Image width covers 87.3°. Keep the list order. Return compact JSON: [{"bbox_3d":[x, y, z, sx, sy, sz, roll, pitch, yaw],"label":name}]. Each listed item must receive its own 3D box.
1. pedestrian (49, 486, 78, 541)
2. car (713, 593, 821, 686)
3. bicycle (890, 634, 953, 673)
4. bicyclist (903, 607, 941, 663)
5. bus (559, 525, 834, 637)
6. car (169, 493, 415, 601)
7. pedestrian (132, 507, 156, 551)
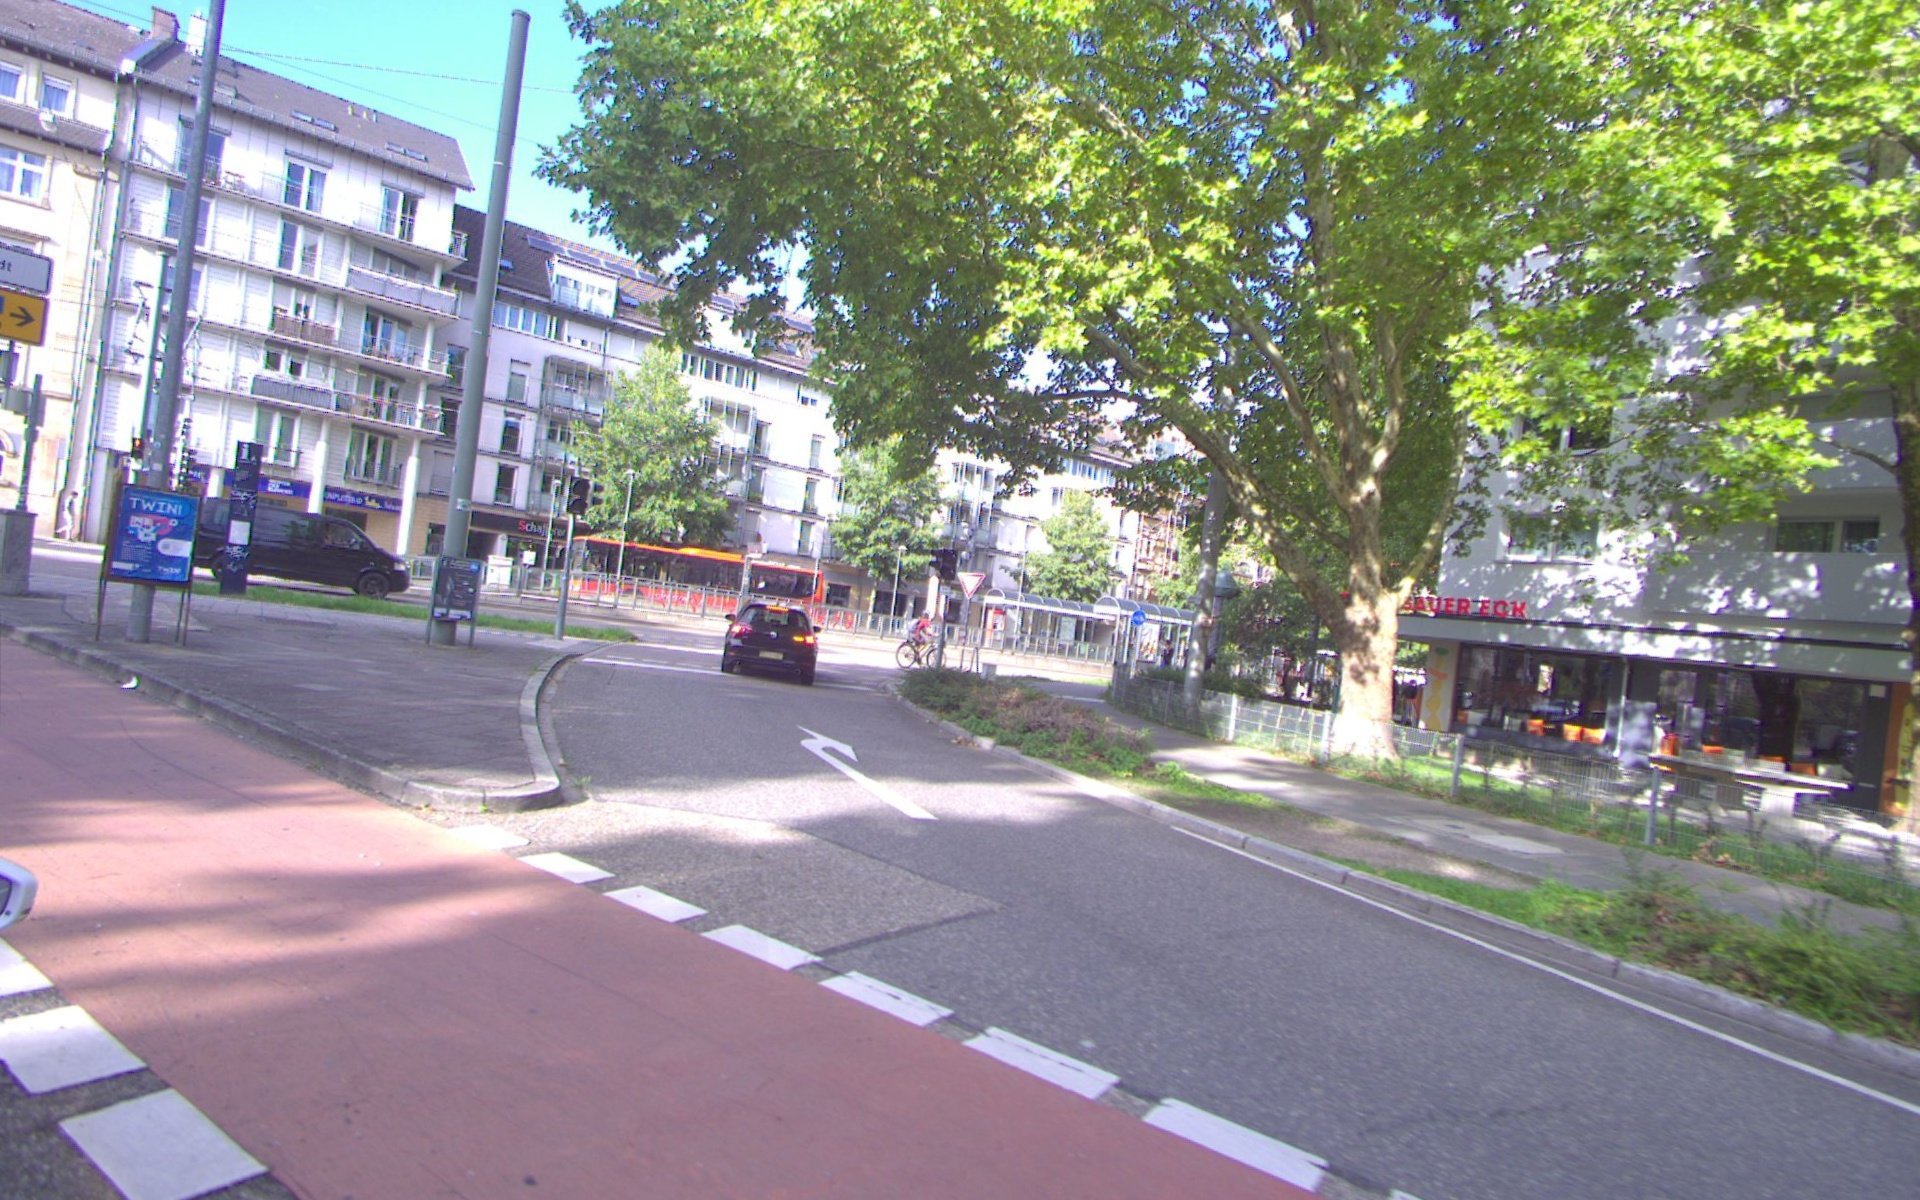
[{"bbox_3d":[-35.614,-3.431,39.967,0.522,2.116,0.493,10,-2,-33],"label":"pedestrian"},{"bbox_3d":[-3.740,0.741,19.989,1.728,1.430,3.996,8,-2,-8],"label":"car"},{"bbox_3d":[-1.178,1.654,30.852,1.818,0.967,0.568,8,-1,-33],"label":"bicycle"},{"bbox_3d":[-1.175,1.060,30.803,0.774,1.598,0.620,7,0,-33],"label":"bicyclist"},{"bbox_3d":[-12.255,-0.761,48.078,12.197,3.590,3.000,9,-1,-36],"label":"bus"},{"bbox_3d":[-16.579,-1.259,25.120,4.824,1.893,2.009,9,-1,-39],"label":"car"},{"bbox_3d":[-33.351,-2.898,41.117,0.493,1.733,0.522,10,-3,-34],"label":"pedestrian"}]
